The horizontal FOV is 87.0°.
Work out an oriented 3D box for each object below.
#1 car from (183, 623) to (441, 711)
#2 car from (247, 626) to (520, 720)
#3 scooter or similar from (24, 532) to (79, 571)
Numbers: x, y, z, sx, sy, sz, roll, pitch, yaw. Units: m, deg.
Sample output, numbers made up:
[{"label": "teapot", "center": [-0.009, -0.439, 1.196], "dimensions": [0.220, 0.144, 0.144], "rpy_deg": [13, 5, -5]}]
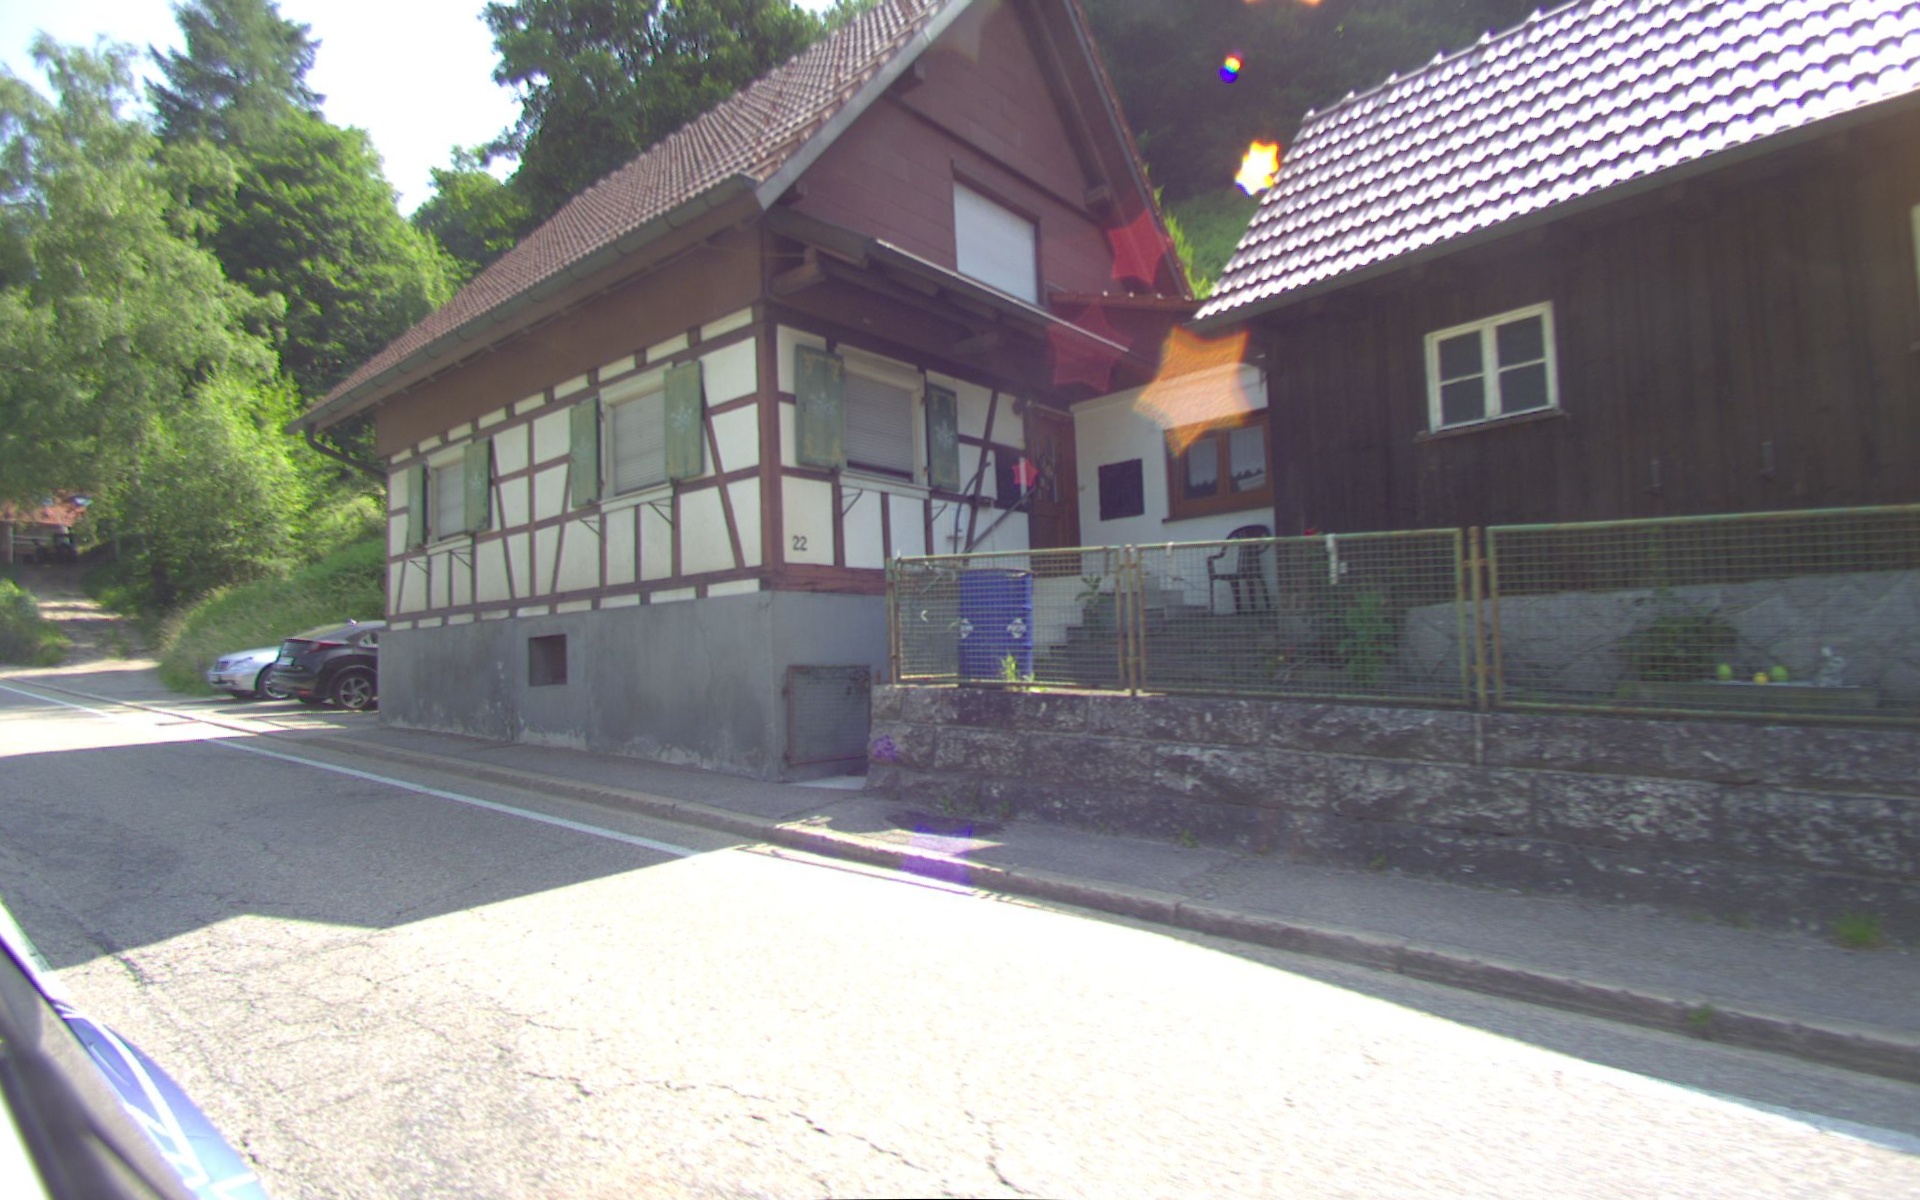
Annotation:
[{"label": "car", "center": [-12.322, 1.199, 19.446], "dimensions": [1.853, 1.427, 3.782], "rpy_deg": [-1, -1, 36]}, {"label": "car", "center": [-10.126, 1.209, 18.001], "dimensions": [1.860, 1.444, 3.782], "rpy_deg": [0, -2, 36]}, {"label": "scooter or similar", "center": [-53.704, -2.850, 59.784], "dimensions": [4.406, 2.041, 1.956], "rpy_deg": [-1, 3, 43]}]
